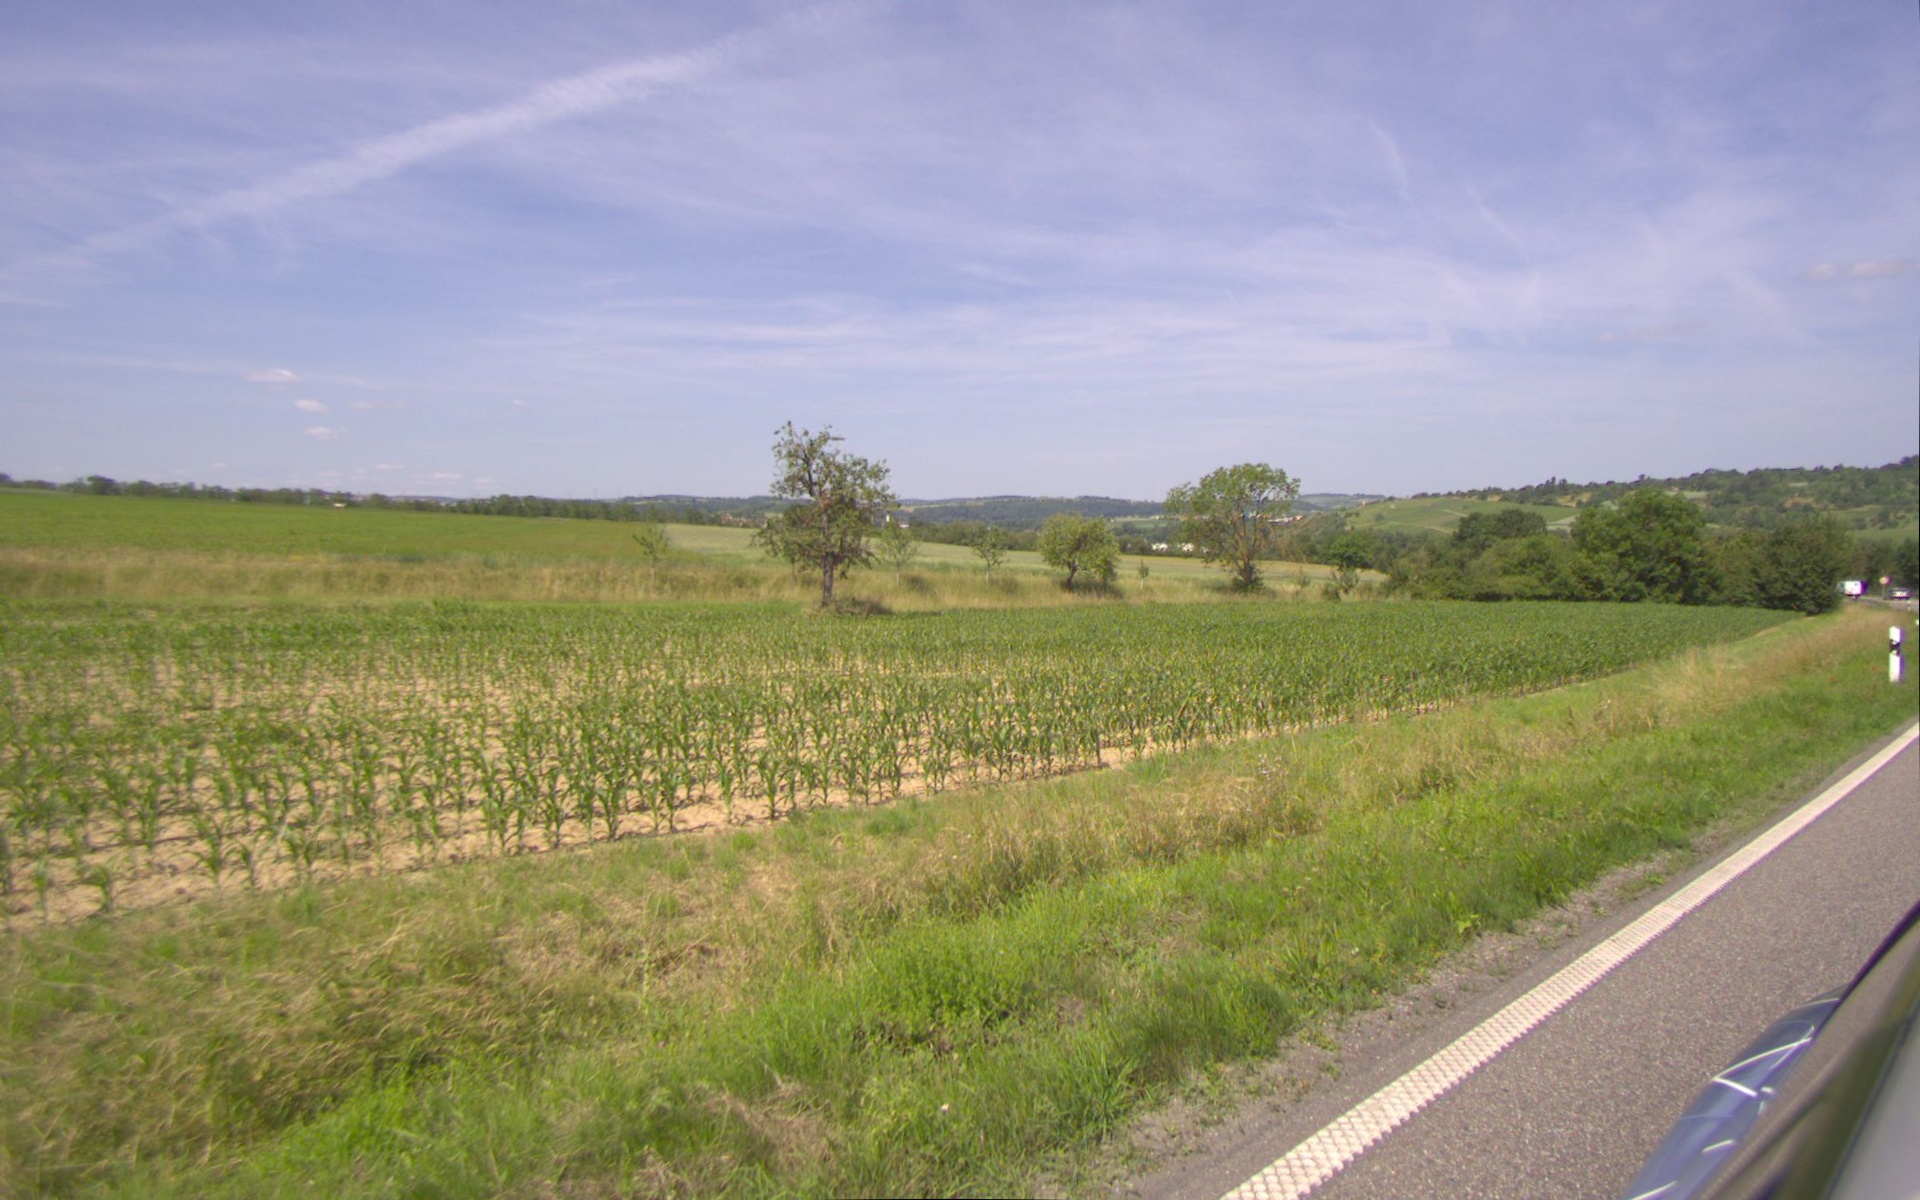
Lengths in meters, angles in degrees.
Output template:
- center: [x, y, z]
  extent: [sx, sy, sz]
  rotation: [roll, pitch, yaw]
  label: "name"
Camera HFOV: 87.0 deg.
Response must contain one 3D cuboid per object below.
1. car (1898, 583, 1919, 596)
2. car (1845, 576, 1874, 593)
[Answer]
- center: [122.543, -1.363, 130.220]
  extent: [1.804, 1.588, 4.633]
  rotation: [1, 2, 31]
  label: "car"
- center: [133.738, -2.311, 150.507]
  extent: [2.077, 2.425, 5.782]
  rotation: [1, 0, 29]
  label: "car"
